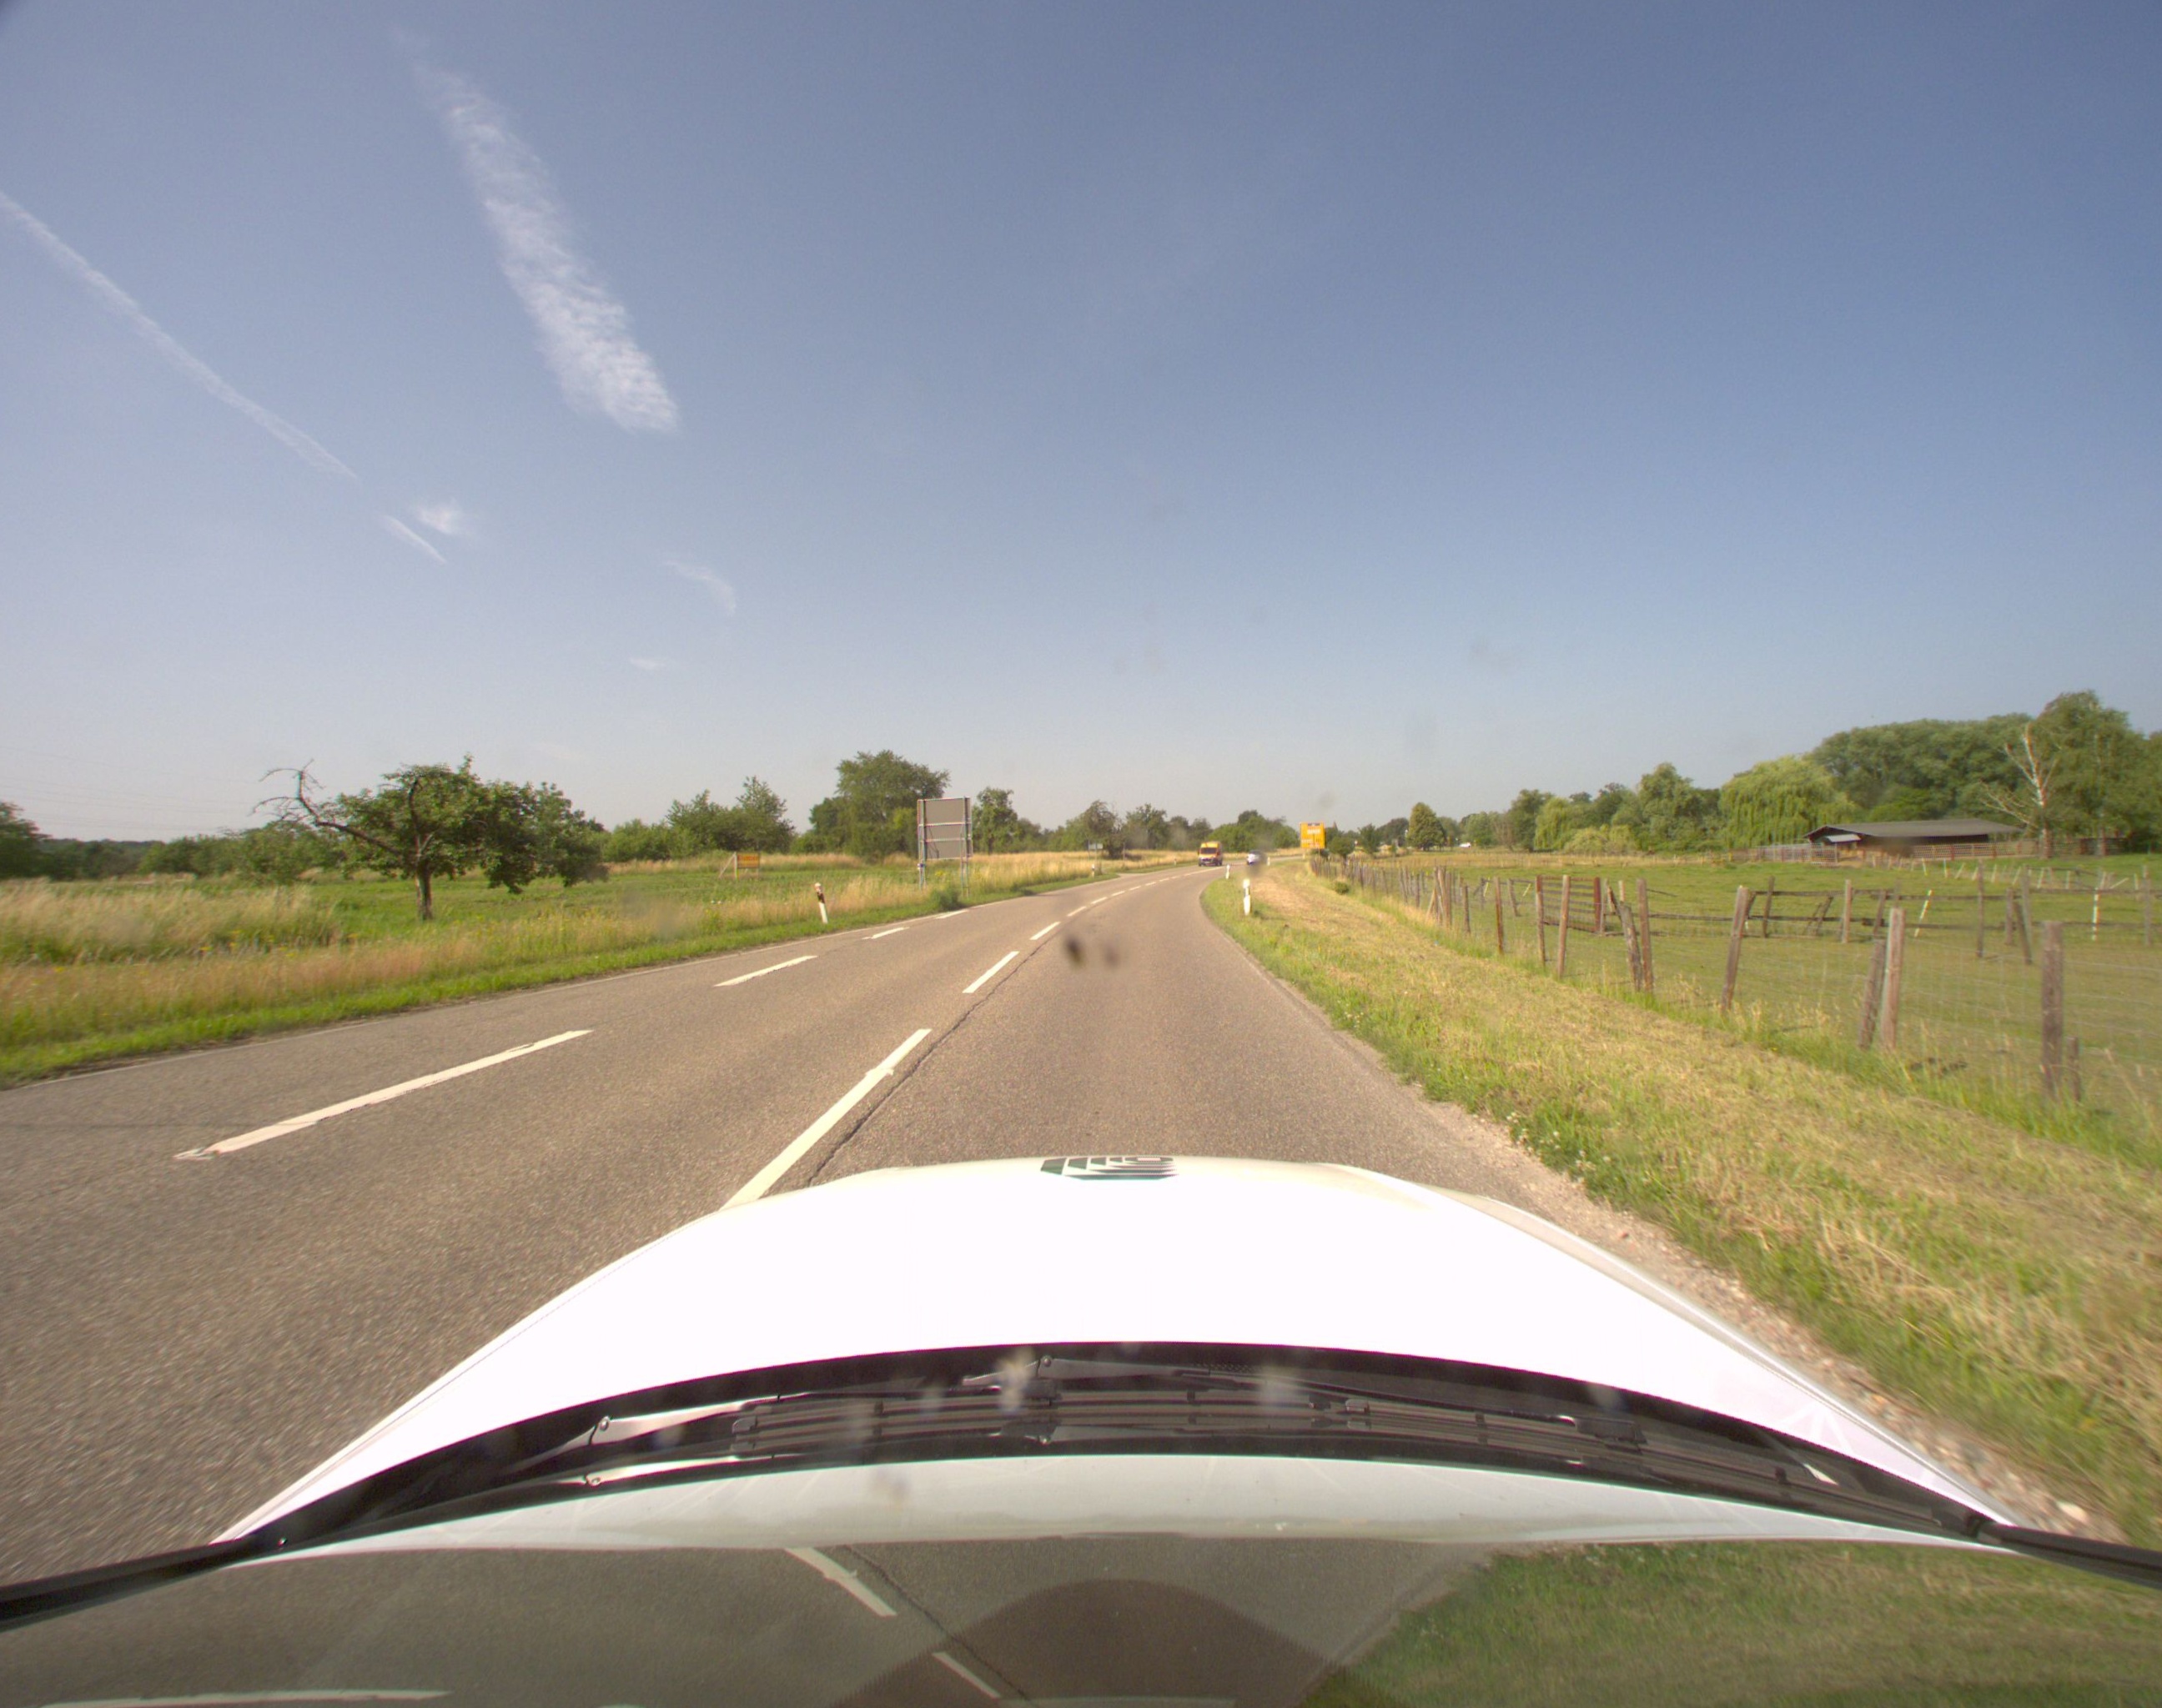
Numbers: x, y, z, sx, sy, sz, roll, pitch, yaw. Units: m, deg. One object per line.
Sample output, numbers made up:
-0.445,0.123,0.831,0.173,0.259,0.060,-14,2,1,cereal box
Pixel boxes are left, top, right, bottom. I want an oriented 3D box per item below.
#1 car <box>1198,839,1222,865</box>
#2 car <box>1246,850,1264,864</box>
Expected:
14.000,-0.193,88.173,2.109,2.696,5.288,-1,0,14,car
19.456,0.367,91.047,1.886,1.512,4.014,0,0,12,car
